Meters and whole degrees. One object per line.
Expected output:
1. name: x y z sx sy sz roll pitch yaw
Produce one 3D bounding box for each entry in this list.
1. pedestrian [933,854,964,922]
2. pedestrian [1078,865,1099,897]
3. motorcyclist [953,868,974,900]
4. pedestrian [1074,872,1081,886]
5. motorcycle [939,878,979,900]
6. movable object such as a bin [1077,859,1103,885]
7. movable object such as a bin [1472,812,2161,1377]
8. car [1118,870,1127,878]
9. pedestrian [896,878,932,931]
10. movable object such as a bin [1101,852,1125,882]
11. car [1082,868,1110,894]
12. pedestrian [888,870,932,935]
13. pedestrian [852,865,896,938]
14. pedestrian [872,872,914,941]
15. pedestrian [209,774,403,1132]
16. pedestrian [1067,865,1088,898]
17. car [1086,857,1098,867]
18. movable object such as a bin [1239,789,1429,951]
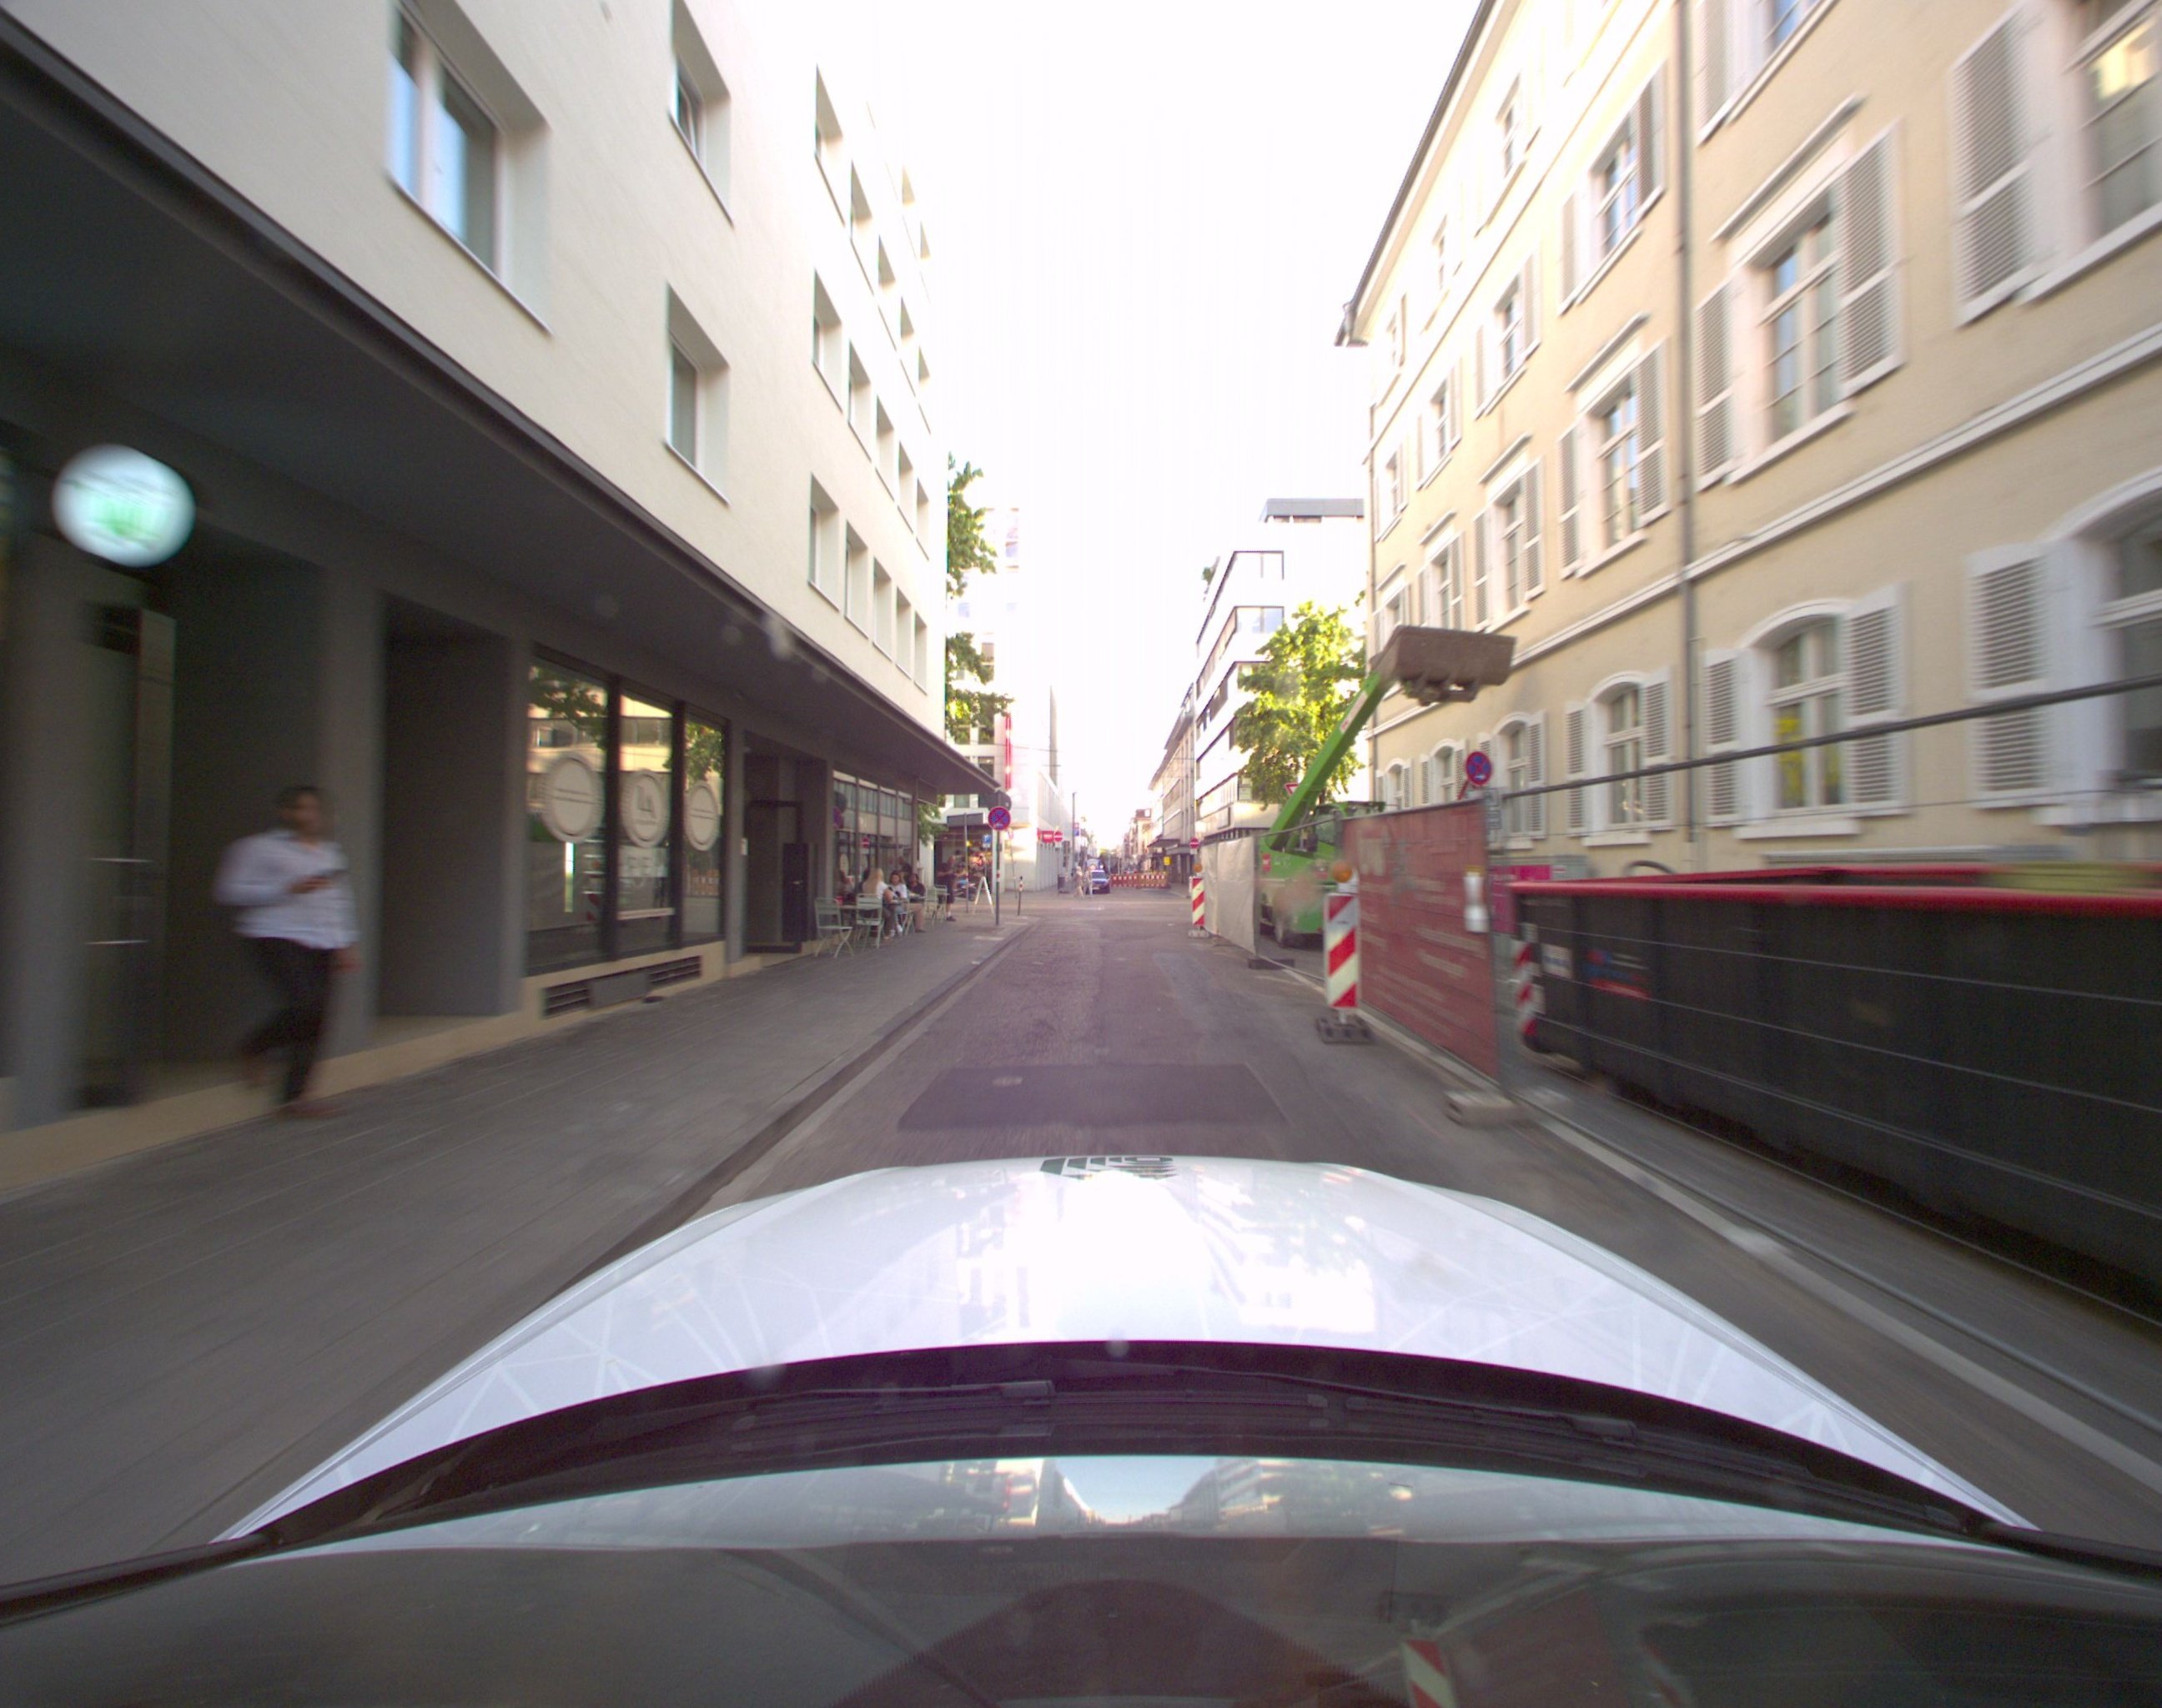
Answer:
1. pedestrian: -3.335 0.856 20.505 0.501 1.668 0.689 1 -2 11
2. pedestrian: 0.366 1.374 41.287 0.615 1.627 0.862 0 -2 -42
3. motorcyclist: -5.246 1.326 36.327 0.894 1.388 0.670 0 -1 -9
4. pedestrian: -0.419 2.773 90.356 0.712 1.464 0.526 -1 -1 5
5. motorcycle: -5.431 1.548 36.284 1.753 0.920 0.640 -1 -1 -9
6. movable object such as a bin: 0.745 1.461 66.349 1.986 2.014 4.002 -1 -1 2
7. movable object such as a bin: 4.506 0.708 2.870 2.726 1.638 7.552 0 -1 1
8. car: 9.710 4.600 190.022 1.986 1.777 4.001 -1 -1 2
9. pedestrian: -3.590 1.079 17.579 0.571 1.114 0.714 1 -1 2
10. movable object such as a bin: 2.957 1.201 76.168 2.149 2.664 4.573 -1 -1 1
11. car: 0.905 1.653 50.827 1.625 1.550 3.140 -1 -1 -2
12. pedestrian: -3.493 0.980 16.676 0.699 1.275 0.714 1 -1 2
13. pedestrian: -3.741 0.850 14.751 0.571 1.275 0.714 1 -1 2
14. pedestrian: -3.607 0.988 15.657 0.571 1.275 0.714 1 -1 2
15. pedestrian: -4.239 0.508 4.497 0.529 1.834 0.562 -1 -1 -5
16. pedestrian: -0.172 1.380 40.892 0.615 1.627 0.862 0 -2 -42
17. car: 1.979 1.397 145.823 1.986 1.777 4.001 -1 -1 2
18. movable object such as a bin: 4.971 0.321 16.858 2.595 2.839 4.451 -1 -1 2
